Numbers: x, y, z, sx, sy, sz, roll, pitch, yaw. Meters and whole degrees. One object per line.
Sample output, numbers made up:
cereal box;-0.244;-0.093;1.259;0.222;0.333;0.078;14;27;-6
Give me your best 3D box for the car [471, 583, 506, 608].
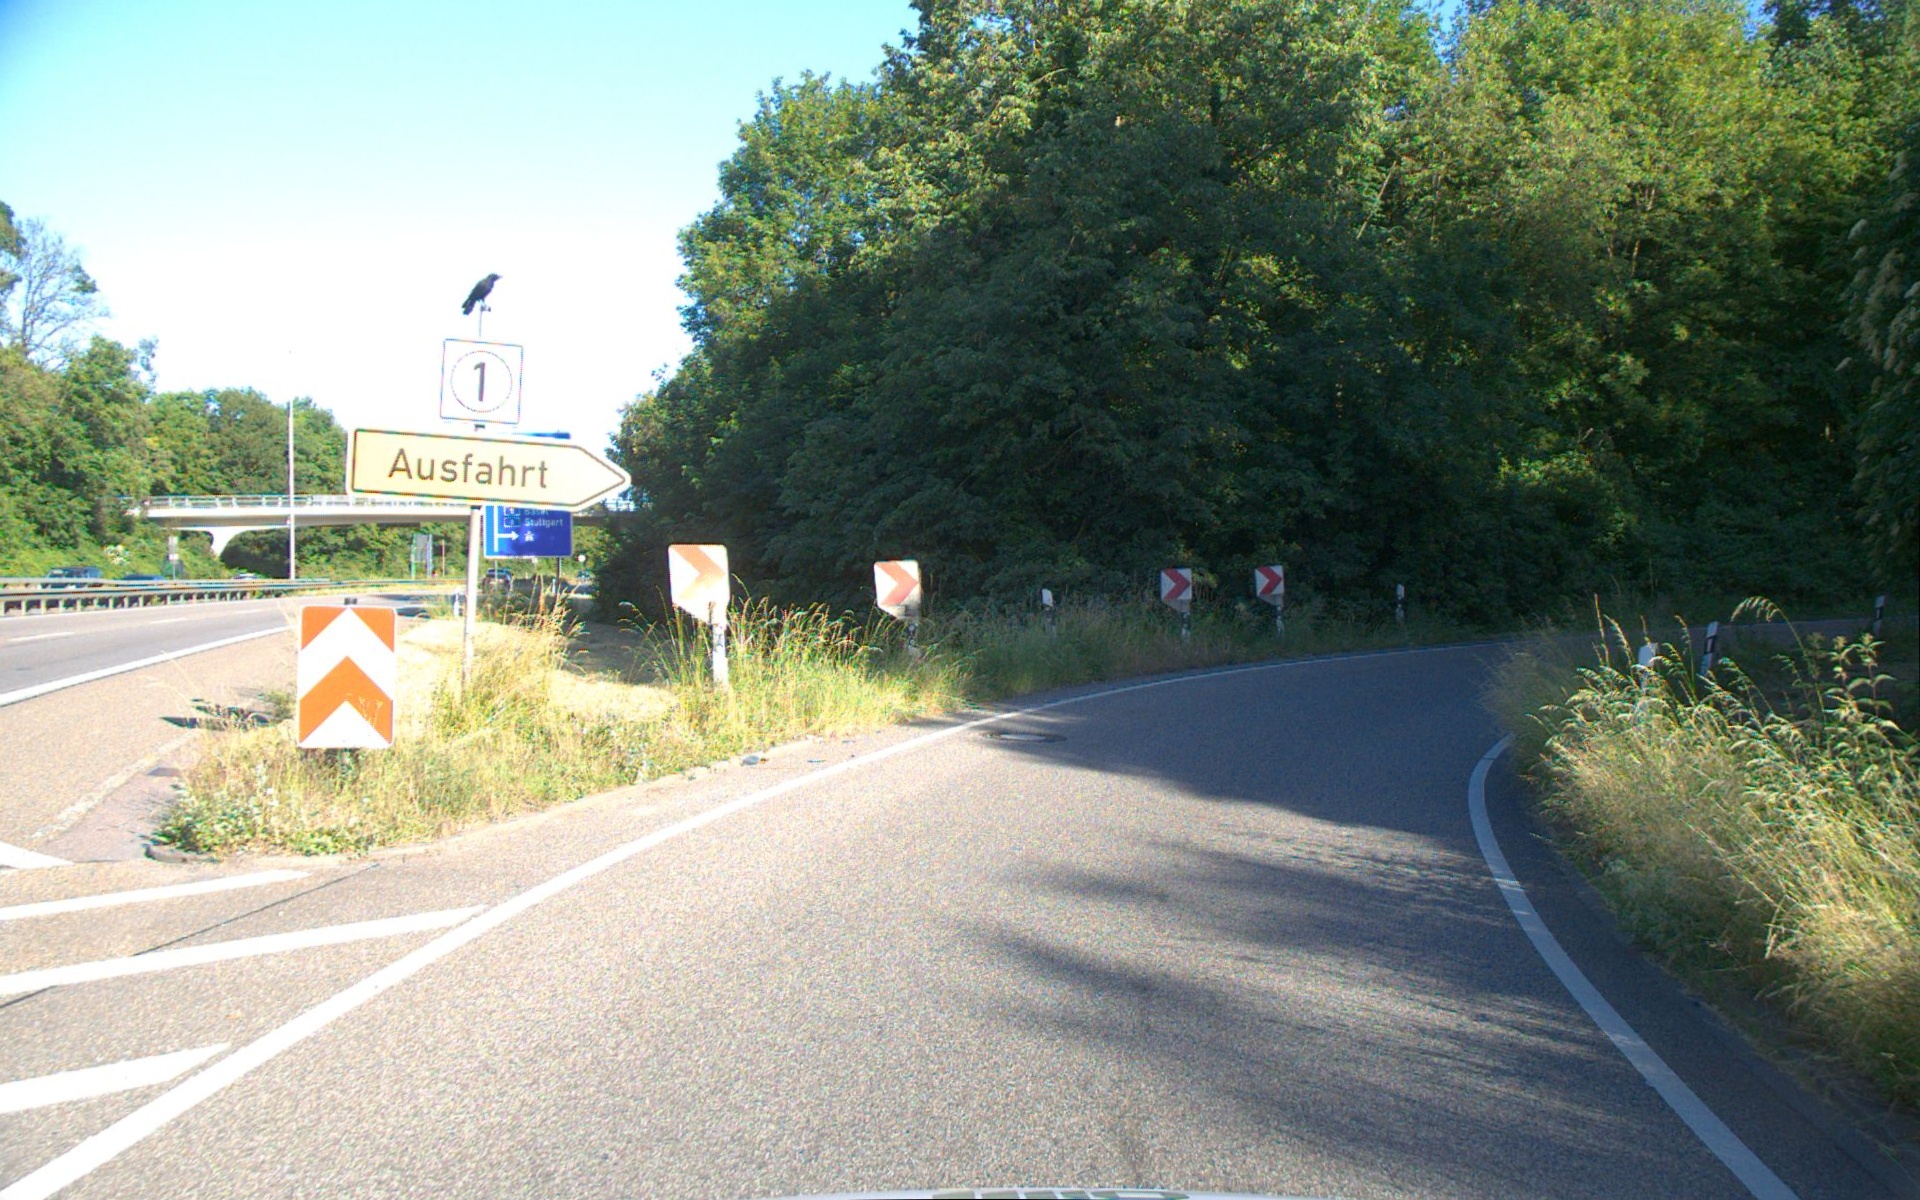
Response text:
car;-33.244;-0.336;116.766;1.706;1.691;3.940;0;1;-6
